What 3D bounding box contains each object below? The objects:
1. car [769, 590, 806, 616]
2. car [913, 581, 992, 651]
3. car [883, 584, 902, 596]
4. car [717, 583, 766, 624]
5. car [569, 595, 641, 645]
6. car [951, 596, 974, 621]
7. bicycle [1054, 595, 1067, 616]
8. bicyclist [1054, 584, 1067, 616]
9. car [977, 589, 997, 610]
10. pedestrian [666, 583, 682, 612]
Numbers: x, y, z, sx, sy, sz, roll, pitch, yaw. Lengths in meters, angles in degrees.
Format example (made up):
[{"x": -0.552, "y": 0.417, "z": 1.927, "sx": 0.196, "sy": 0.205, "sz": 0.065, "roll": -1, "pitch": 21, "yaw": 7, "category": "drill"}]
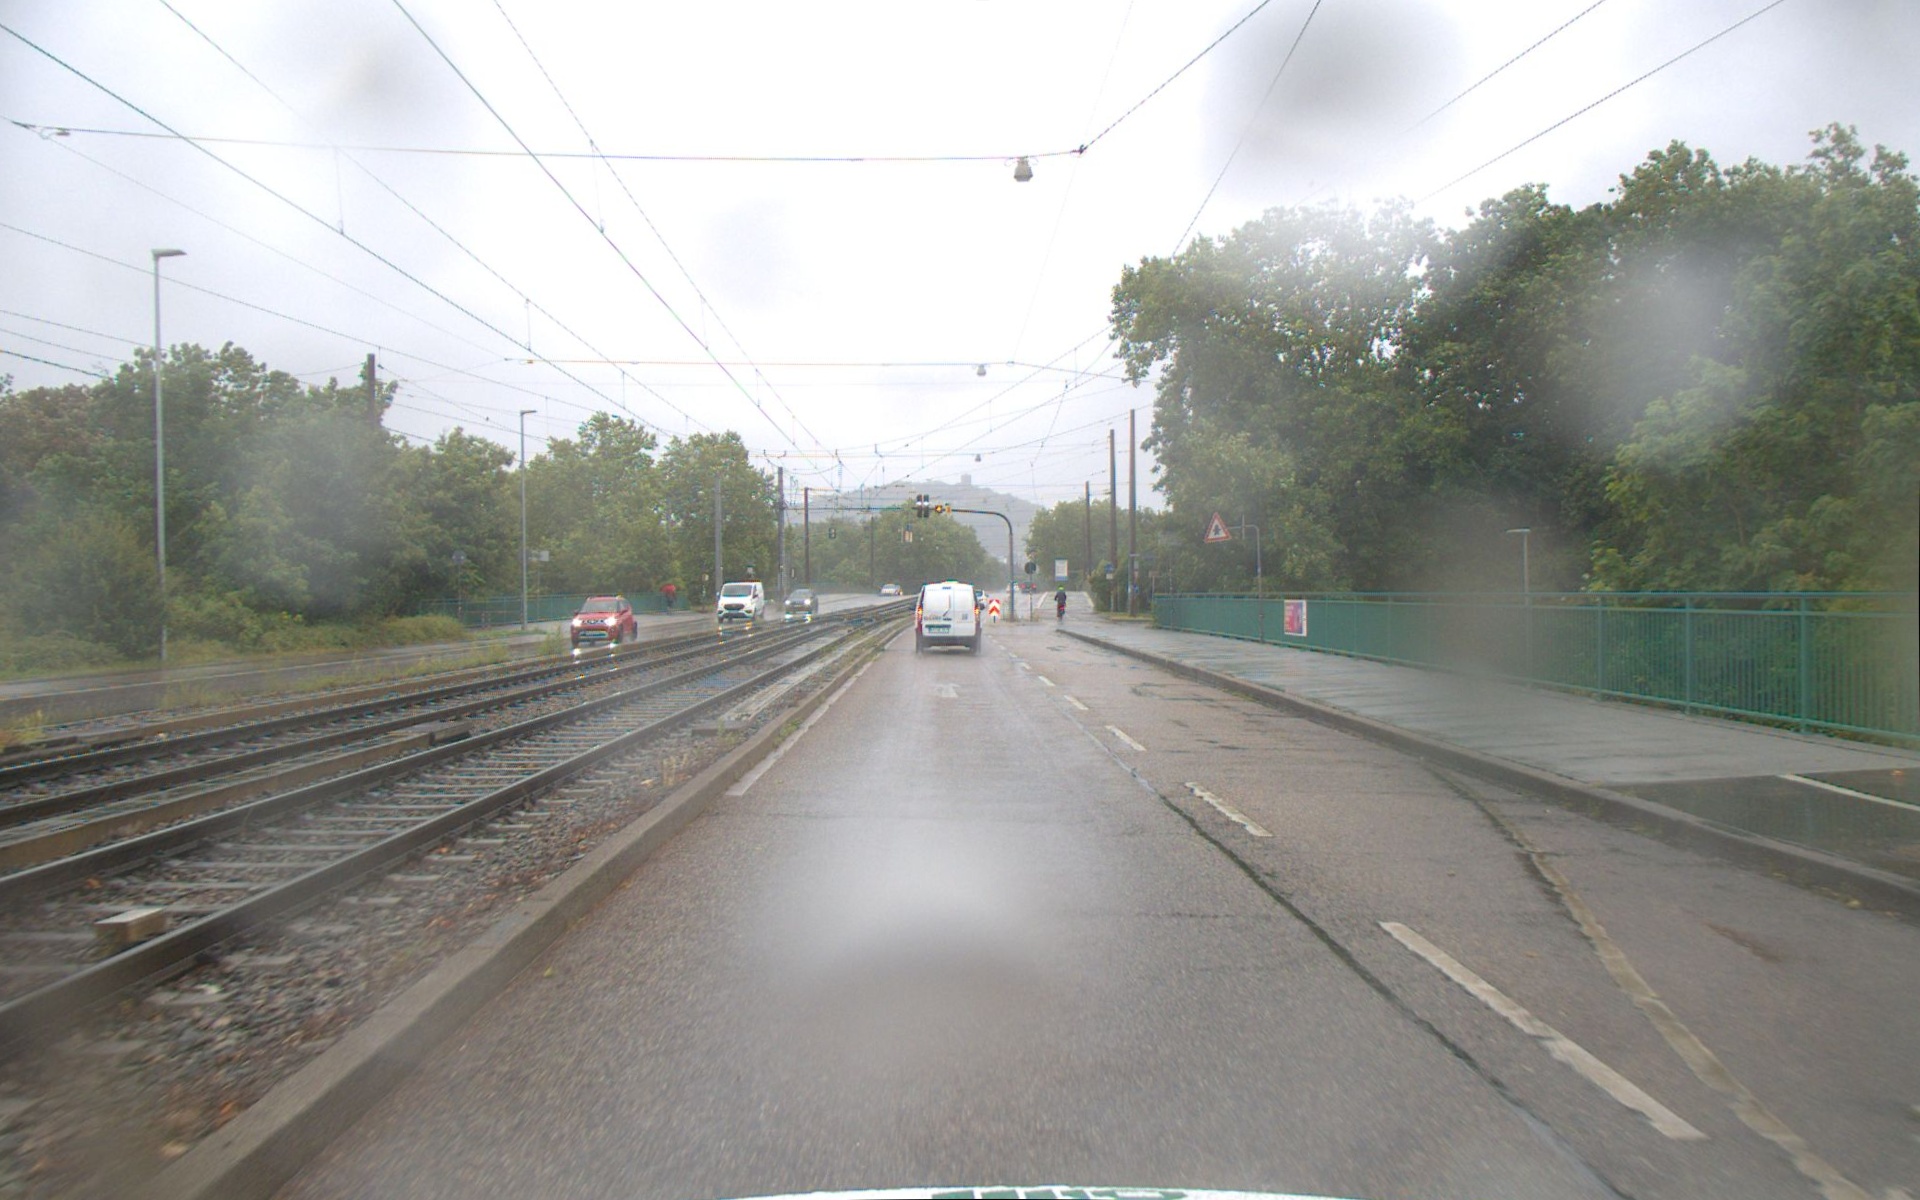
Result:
[{"x": -11.535, "y": 0.182, "z": 110.971, "sx": 1.953, "sy": 1.677, "sz": 5.370, "roll": 1, "pitch": 0, "yaw": -1, "category": "car"}, {"x": -0.248, "y": 0.405, "z": 44.239, "sx": 1.953, "sy": 1.756, "sz": 3.998, "roll": 1, "pitch": 0, "yaw": -2, "category": "car"}, {"x": -8.155, "y": -1.209, "z": 199.875, "sx": 1.894, "sy": 1.252, "sz": 4.102, "roll": -2, "pitch": 2, "yaw": 3, "category": "car"}, {"x": -11.524, "y": 0.181, "z": 87.531, "sx": 1.953, "sy": 2.079, "sz": 5.027, "roll": 1, "pitch": 0, "yaw": -1, "category": "car"}, {"x": -12.042, "y": 0.656, "z": 56.318, "sx": 1.689, "sy": 1.629, "sz": 3.650, "roll": 1, "pitch": 0, "yaw": -1, "category": "car"}, {"x": 0.173, "y": 0.550, "z": 106.830, "sx": 1.421, "sy": 1.526, "sz": 2.982, "roll": 1, "pitch": 0, "yaw": -1, "category": "car"}, {"x": 5.671, "y": 0.300, "z": 93.164, "sx": 0.708, "sy": 1.148, "sz": 2.169, "roll": 1, "pitch": 1, "yaw": 4, "category": "bicycle"}, {"x": 5.679, "y": -0.014, "z": 93.284, "sx": 0.710, "sy": 1.794, "sz": 0.949, "roll": 1, "pitch": -1, "yaw": 3, "category": "bicyclist"}, {"x": 2.049, "y": -0.044, "z": 126.666, "sx": 1.421, "sy": 1.526, "sz": 2.982, "roll": 1, "pitch": 0, "yaw": -1, "category": "car"}, {"x": -18.634, "y": -0.156, "z": 107.716, "sx": 0.846, "sy": 1.850, "sz": 1.043, "roll": 1, "pitch": 0, "yaw": 1, "category": "pedestrian"}]
